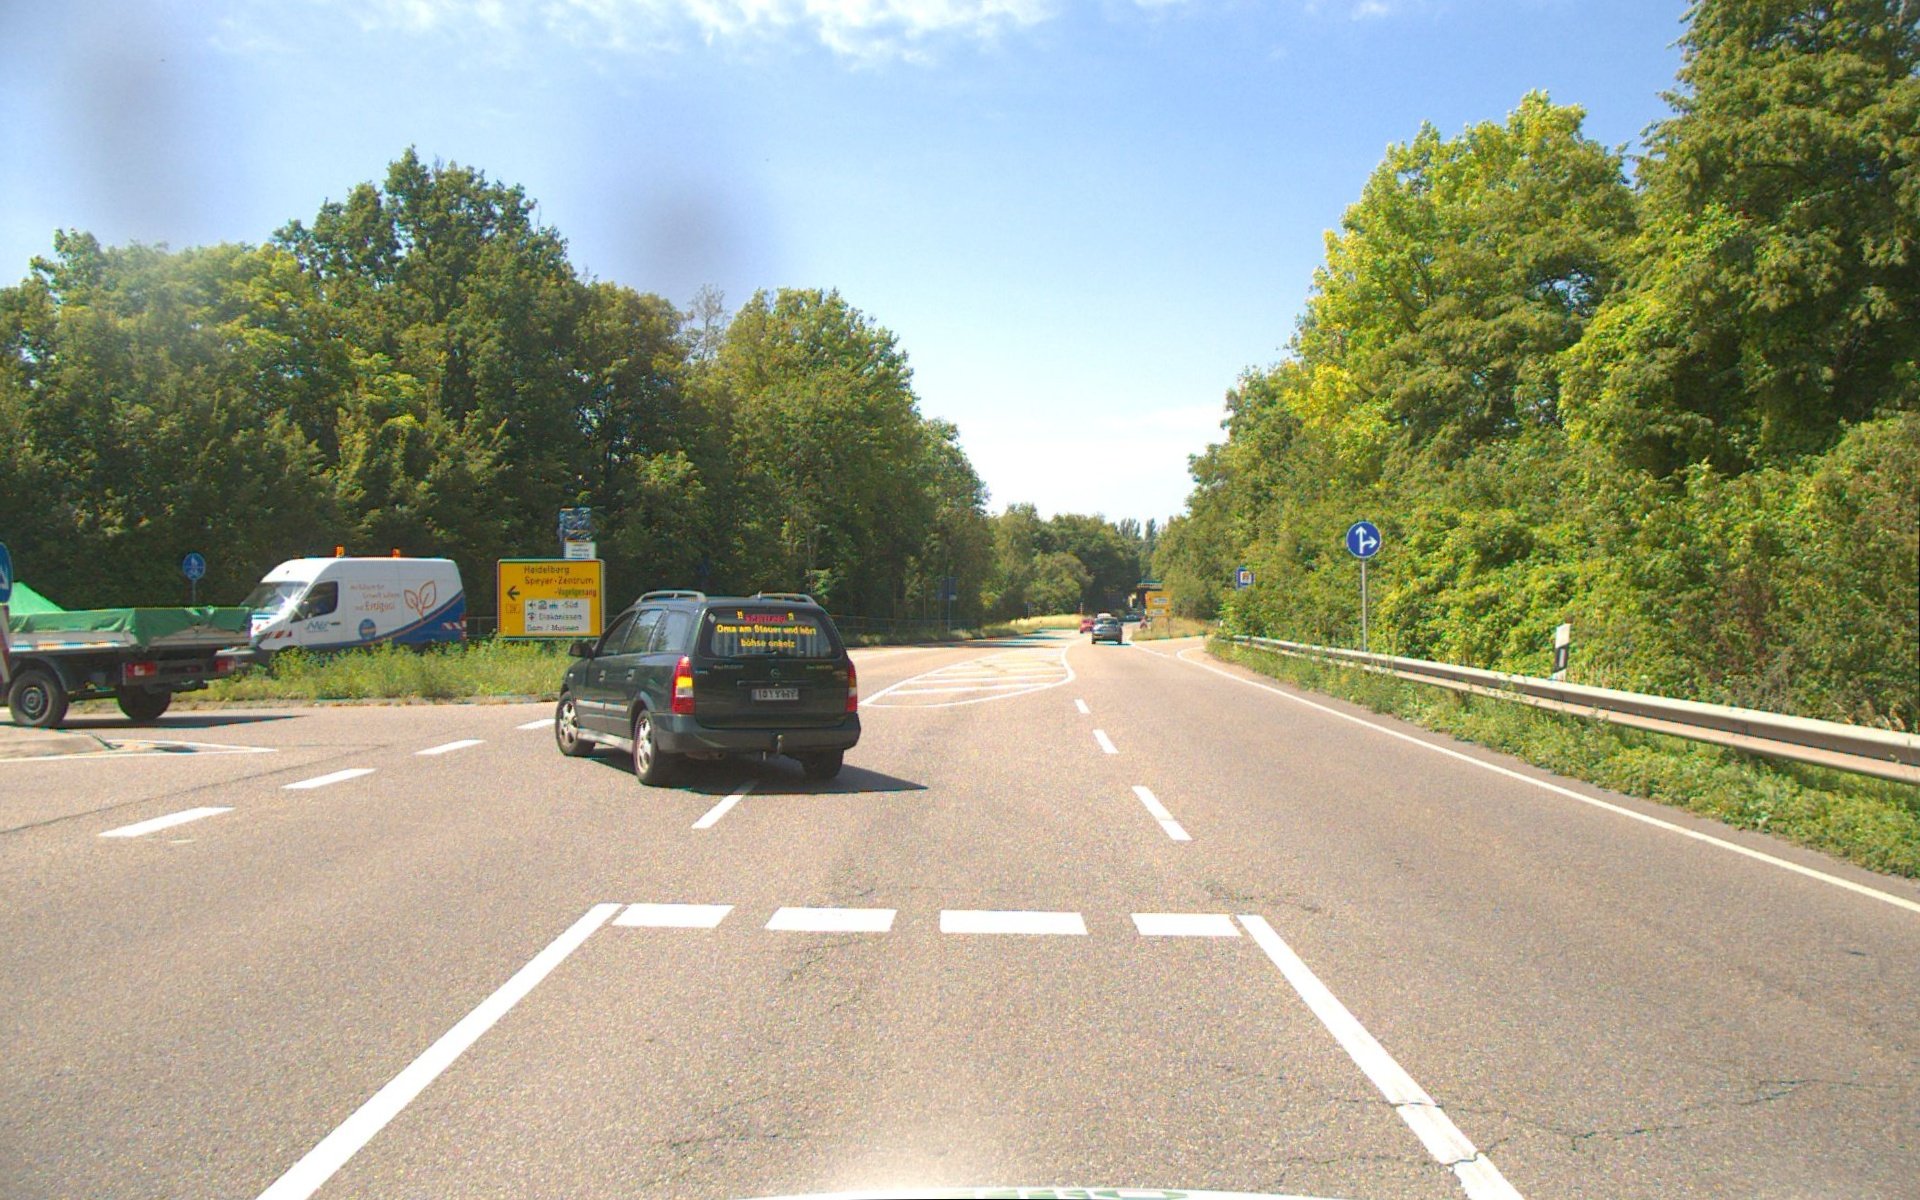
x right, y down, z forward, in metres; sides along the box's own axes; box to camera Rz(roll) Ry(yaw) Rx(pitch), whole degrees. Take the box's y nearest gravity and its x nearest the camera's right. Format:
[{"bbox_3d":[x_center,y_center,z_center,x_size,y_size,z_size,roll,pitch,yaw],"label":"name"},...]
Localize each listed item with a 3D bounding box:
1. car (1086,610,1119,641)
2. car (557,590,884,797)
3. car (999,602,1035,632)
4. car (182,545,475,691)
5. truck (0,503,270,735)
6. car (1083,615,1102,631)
[{"bbox_3d":[8.193,1.457,95.225,1.804,1.714,4.002,0,0,4],"label":"car"},{"bbox_3d":[-2.175,0.674,14.132,1.699,1.482,3.765,0,1,-26],"label":"car"},{"bbox_3d":[6.269,1.856,183.221,1.970,3.282,4.765,0,0,-27],"label":"car"},{"bbox_3d":[-13.488,0.374,35.825,2.065,2.900,6.002,0,0,29],"label":"car"},{"bbox_3d":[-12.154,0.318,20.558,6.476,2.610,2.148,-2,-1,12],"label":"truck"},{"bbox_3d":[13.231,2.274,164.945,1.771,1.483,3.760,0,0,6],"label":"car"}]
